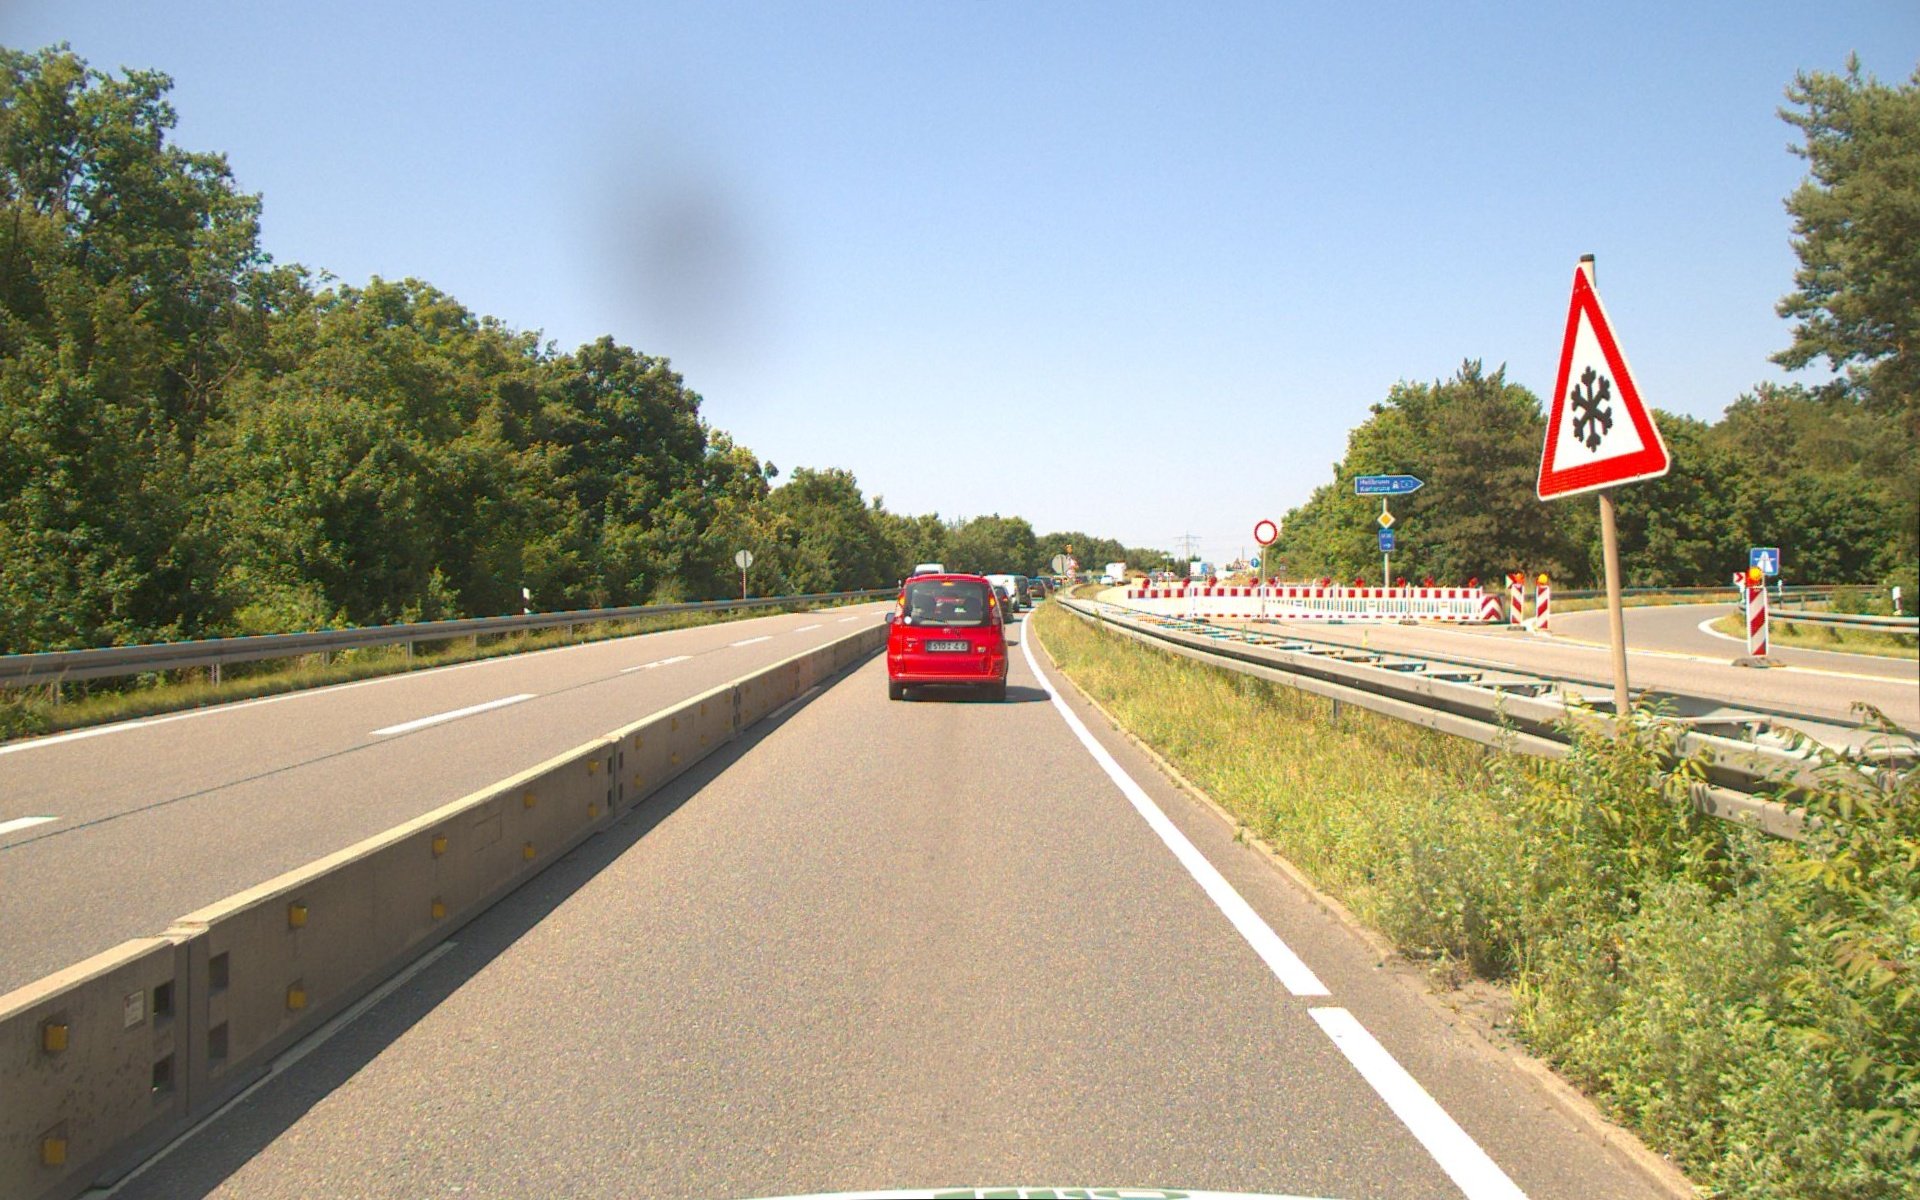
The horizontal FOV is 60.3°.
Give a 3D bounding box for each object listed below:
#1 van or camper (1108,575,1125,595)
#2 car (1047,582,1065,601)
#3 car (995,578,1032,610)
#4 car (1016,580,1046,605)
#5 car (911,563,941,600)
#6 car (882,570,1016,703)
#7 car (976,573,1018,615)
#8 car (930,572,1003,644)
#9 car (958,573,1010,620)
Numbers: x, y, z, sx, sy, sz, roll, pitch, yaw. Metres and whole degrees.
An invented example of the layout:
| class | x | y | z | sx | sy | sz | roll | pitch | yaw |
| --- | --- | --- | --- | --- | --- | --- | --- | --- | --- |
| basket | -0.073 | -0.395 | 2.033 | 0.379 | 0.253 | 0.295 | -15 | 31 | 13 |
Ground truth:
| class | x | y | z | sx | sy | sz | roll | pitch | yaw |
| --- | --- | --- | --- | --- | --- | --- | --- | --- | --- |
| van or camper | 22.550 | -2.145 | 237.985 | 2.279 | 2.754 | 4.596 | -1 | 0 | 4 |
| car | 9.046 | -0.820 | 155.961 | 1.470 | 1.767 | 3.172 | -1 | 0 | 7 |
| car | 3.066 | -0.378 | 95.427 | 1.953 | 1.780 | 3.999 | -1 | 0 | -1 |
| car | 5.221 | -0.577 | 122.158 | 1.953 | 1.814 | 3.999 | -1 | 0 | -1 |
| car | -2.410 | -1.323 | 118.956 | 2.019 | 2.528 | 5.560 | 0 | 1 | 0 |
| car | -0.193 | 0.459 | 23.459 | 1.716 | 1.702 | 3.999 | 1 | 0 | -2 |
| car | 1.827 | -0.297 | 82.862 | 1.953 | 2.038 | 3.999 | 0 | 0 | -1 |
| car | 0.167 | 0.191 | 42.965 | 1.793 | 1.752 | 4.000 | -1 | 0 | 0 |
| car | 1.001 | -0.153 | 67.016 | 1.952 | 1.870 | 4.001 | 0 | 0 | 2 |
